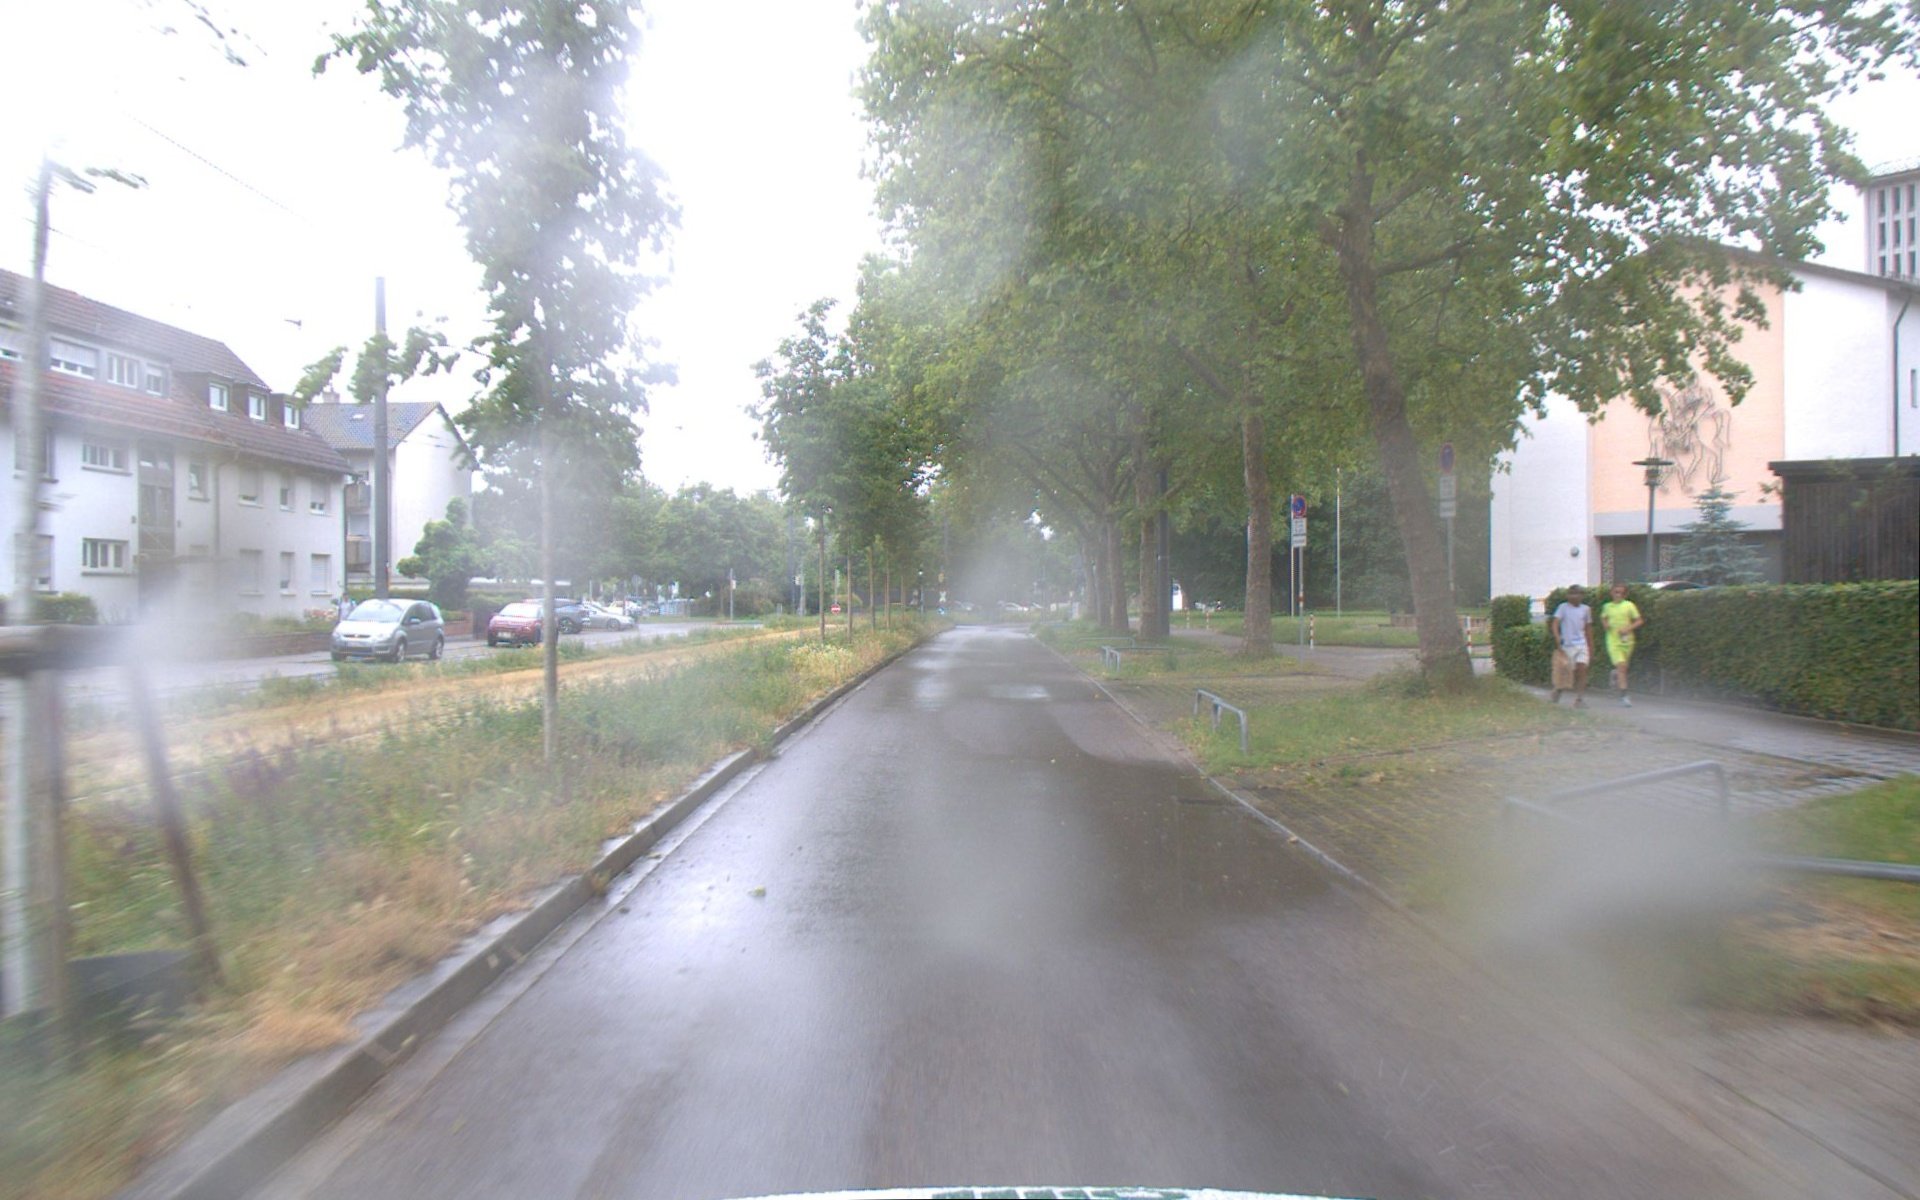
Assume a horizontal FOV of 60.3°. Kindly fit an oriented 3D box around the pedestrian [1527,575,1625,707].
[{"bbox_3d":[7.607,0.498,20.465,0.817,1.565,0.859,-2,0,-5],"label":"pedestrian"}]

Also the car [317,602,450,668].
[{"bbox_3d":[-15.397,0.900,44.457,1.953,1.608,4.516,1,0,0],"label":"car"}]

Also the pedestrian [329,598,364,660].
[{"bbox_3d":[-18.072,0.845,48.756,0.687,1.786,0.854,-1,0,1],"label":"pedestrian"}]

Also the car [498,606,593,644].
[{"bbox_3d":[-19.293,1.157,77.116,3.907,1.645,1.999,-1,0,-2],"label":"car"}]

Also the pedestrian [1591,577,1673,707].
[{"bbox_3d":[8.352,0.512,20.587,0.545,1.565,0.966,-1,0,-5],"label":"pedestrian"}]

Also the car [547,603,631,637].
[{"bbox_3d":[-19.100,1.039,85.271,3.907,1.645,1.999,-1,0,-2],"label":"car"}]

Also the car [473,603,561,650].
[{"bbox_3d":[-15.617,0.900,58.470,1.953,1.514,4.205,1,0,0],"label":"car"}]
